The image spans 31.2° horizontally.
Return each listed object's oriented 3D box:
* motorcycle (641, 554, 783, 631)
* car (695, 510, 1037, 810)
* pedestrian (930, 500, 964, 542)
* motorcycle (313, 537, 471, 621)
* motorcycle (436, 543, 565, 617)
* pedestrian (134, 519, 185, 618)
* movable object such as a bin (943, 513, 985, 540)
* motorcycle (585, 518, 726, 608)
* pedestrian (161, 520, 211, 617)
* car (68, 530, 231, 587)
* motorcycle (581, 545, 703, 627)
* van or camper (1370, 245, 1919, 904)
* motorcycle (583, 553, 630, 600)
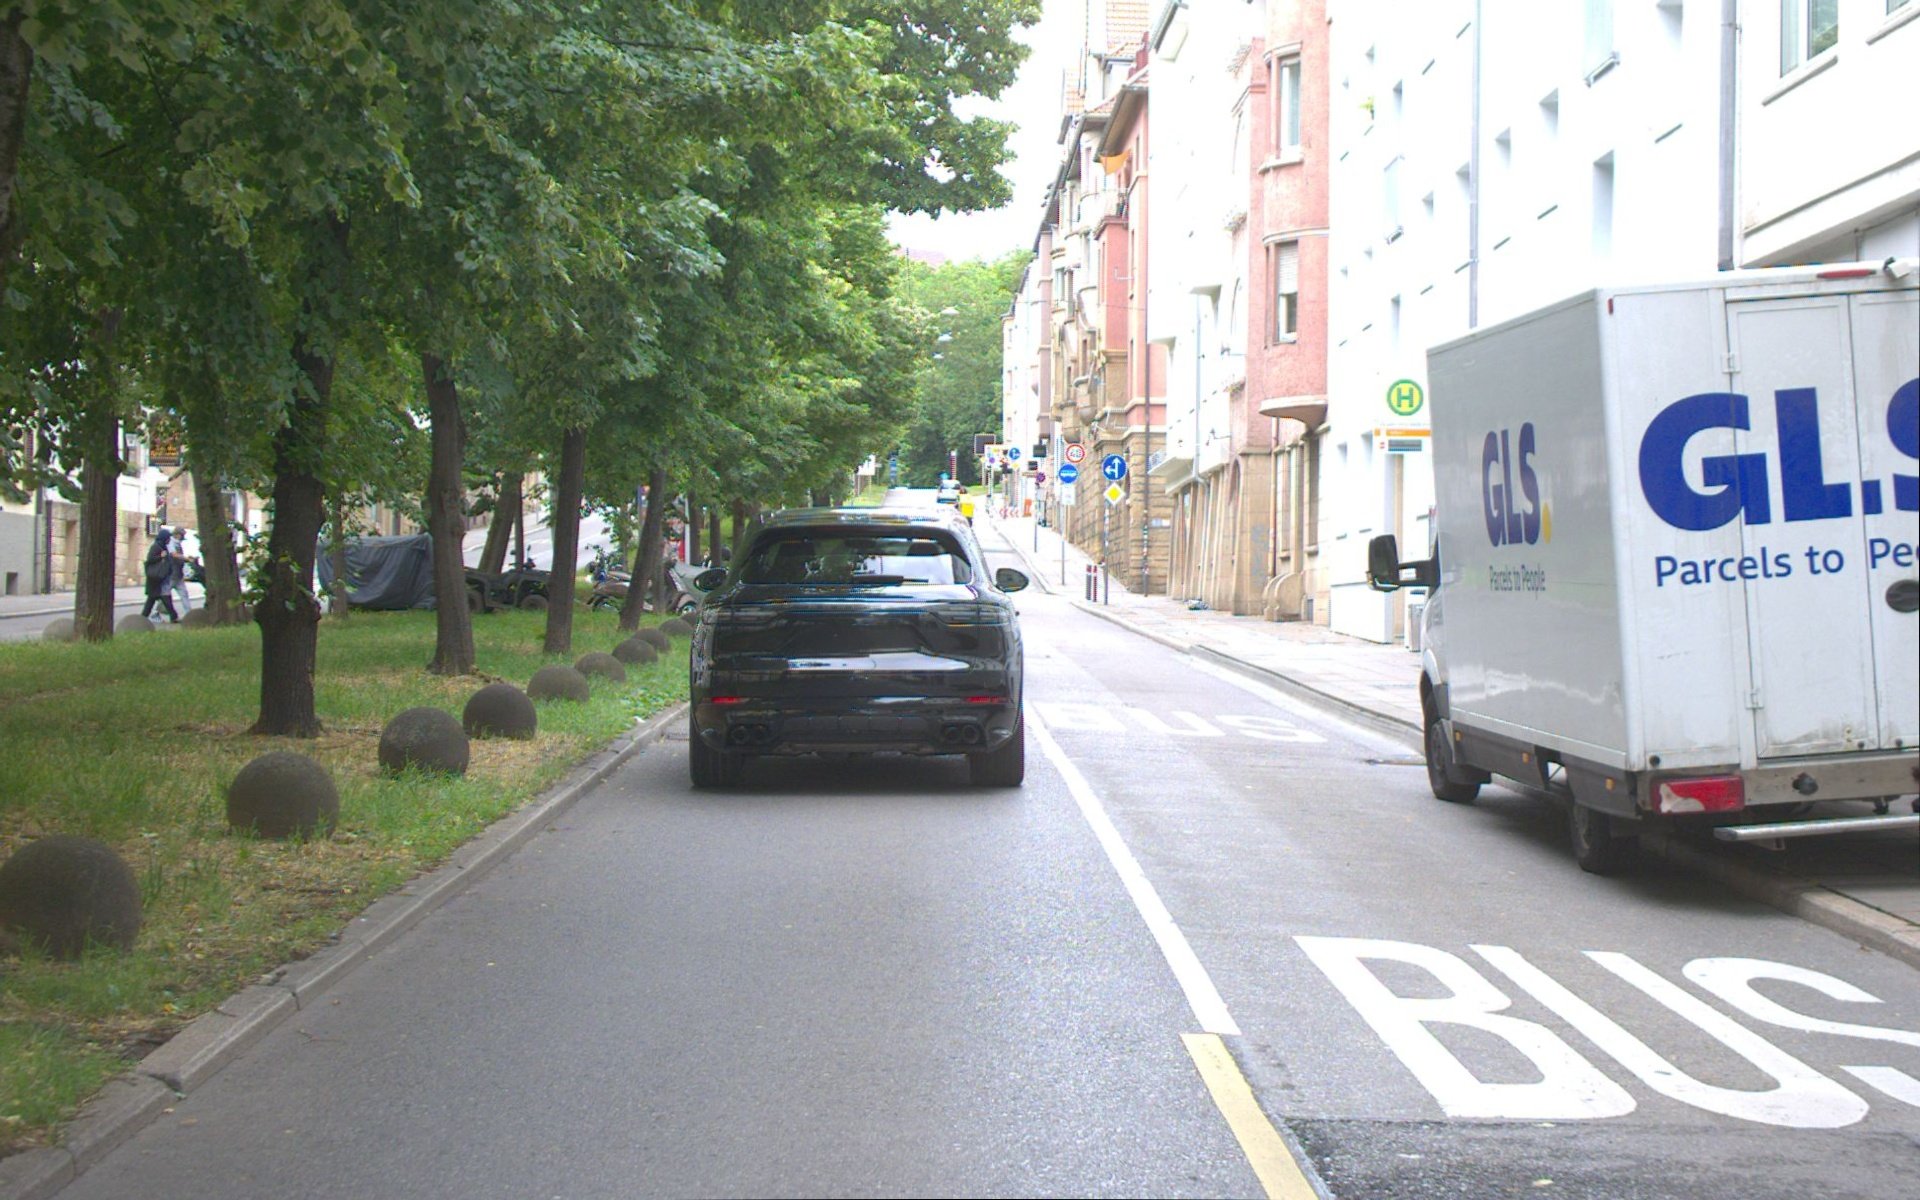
[{"bbox_3d":[-4.197,-0.130,58.404,2.355,1.231,1.034,1,3,-2],"label":"motorcycle"},{"bbox_3d":[-0.607,0.308,21.398,1.903,1.660,4.136,1,1,-2],"label":"car"},{"bbox_3d":[-0.649,-3.845,166.967,1.301,2.007,1.020,0,1,-31],"label":"pedestrian"},{"bbox_3d":[-9.176,-0.346,55.631,2.382,1.312,1.046,1,1,-2],"label":"motorcycle"},{"bbox_3d":[-7.859,-0.345,58.843,2.029,1.231,0.896,1,1,5],"label":"motorcycle"},{"bbox_3d":[-13.144,-0.520,56.467,0.634,1.607,0.764,2,1,-2],"label":"pedestrian"},{"bbox_3d":[0.205,-3.549,165.728,1.237,1.270,1.846,0,1,-31],"label":"movable object such as a bin"},{"bbox_3d":[-4.999,-0.610,56.502,2.194,1.433,0.874,1,1,2],"label":"motorcycle"},{"bbox_3d":[-12.949,-0.530,57.512,0.662,1.610,0.579,1,1,1],"label":"pedestrian"},{"bbox_3d":[-22.026,-1.129,93.519,3.987,1.492,2.000,1,1,0],"label":"car"},{"bbox_3d":[-5.141,-0.222,55.703,1.924,1.292,0.893,0,-1,-2],"label":"motorcycle"},{"bbox_3d":[3.881,-0.168,18.312,2.480,2.793,7.238,-1,1,0],"label":"van or camper"},{"bbox_3d":[-8.508,-0.557,82.789,0.900,1.103,2.251,0,-1,0],"label":"motorcycle"}]
